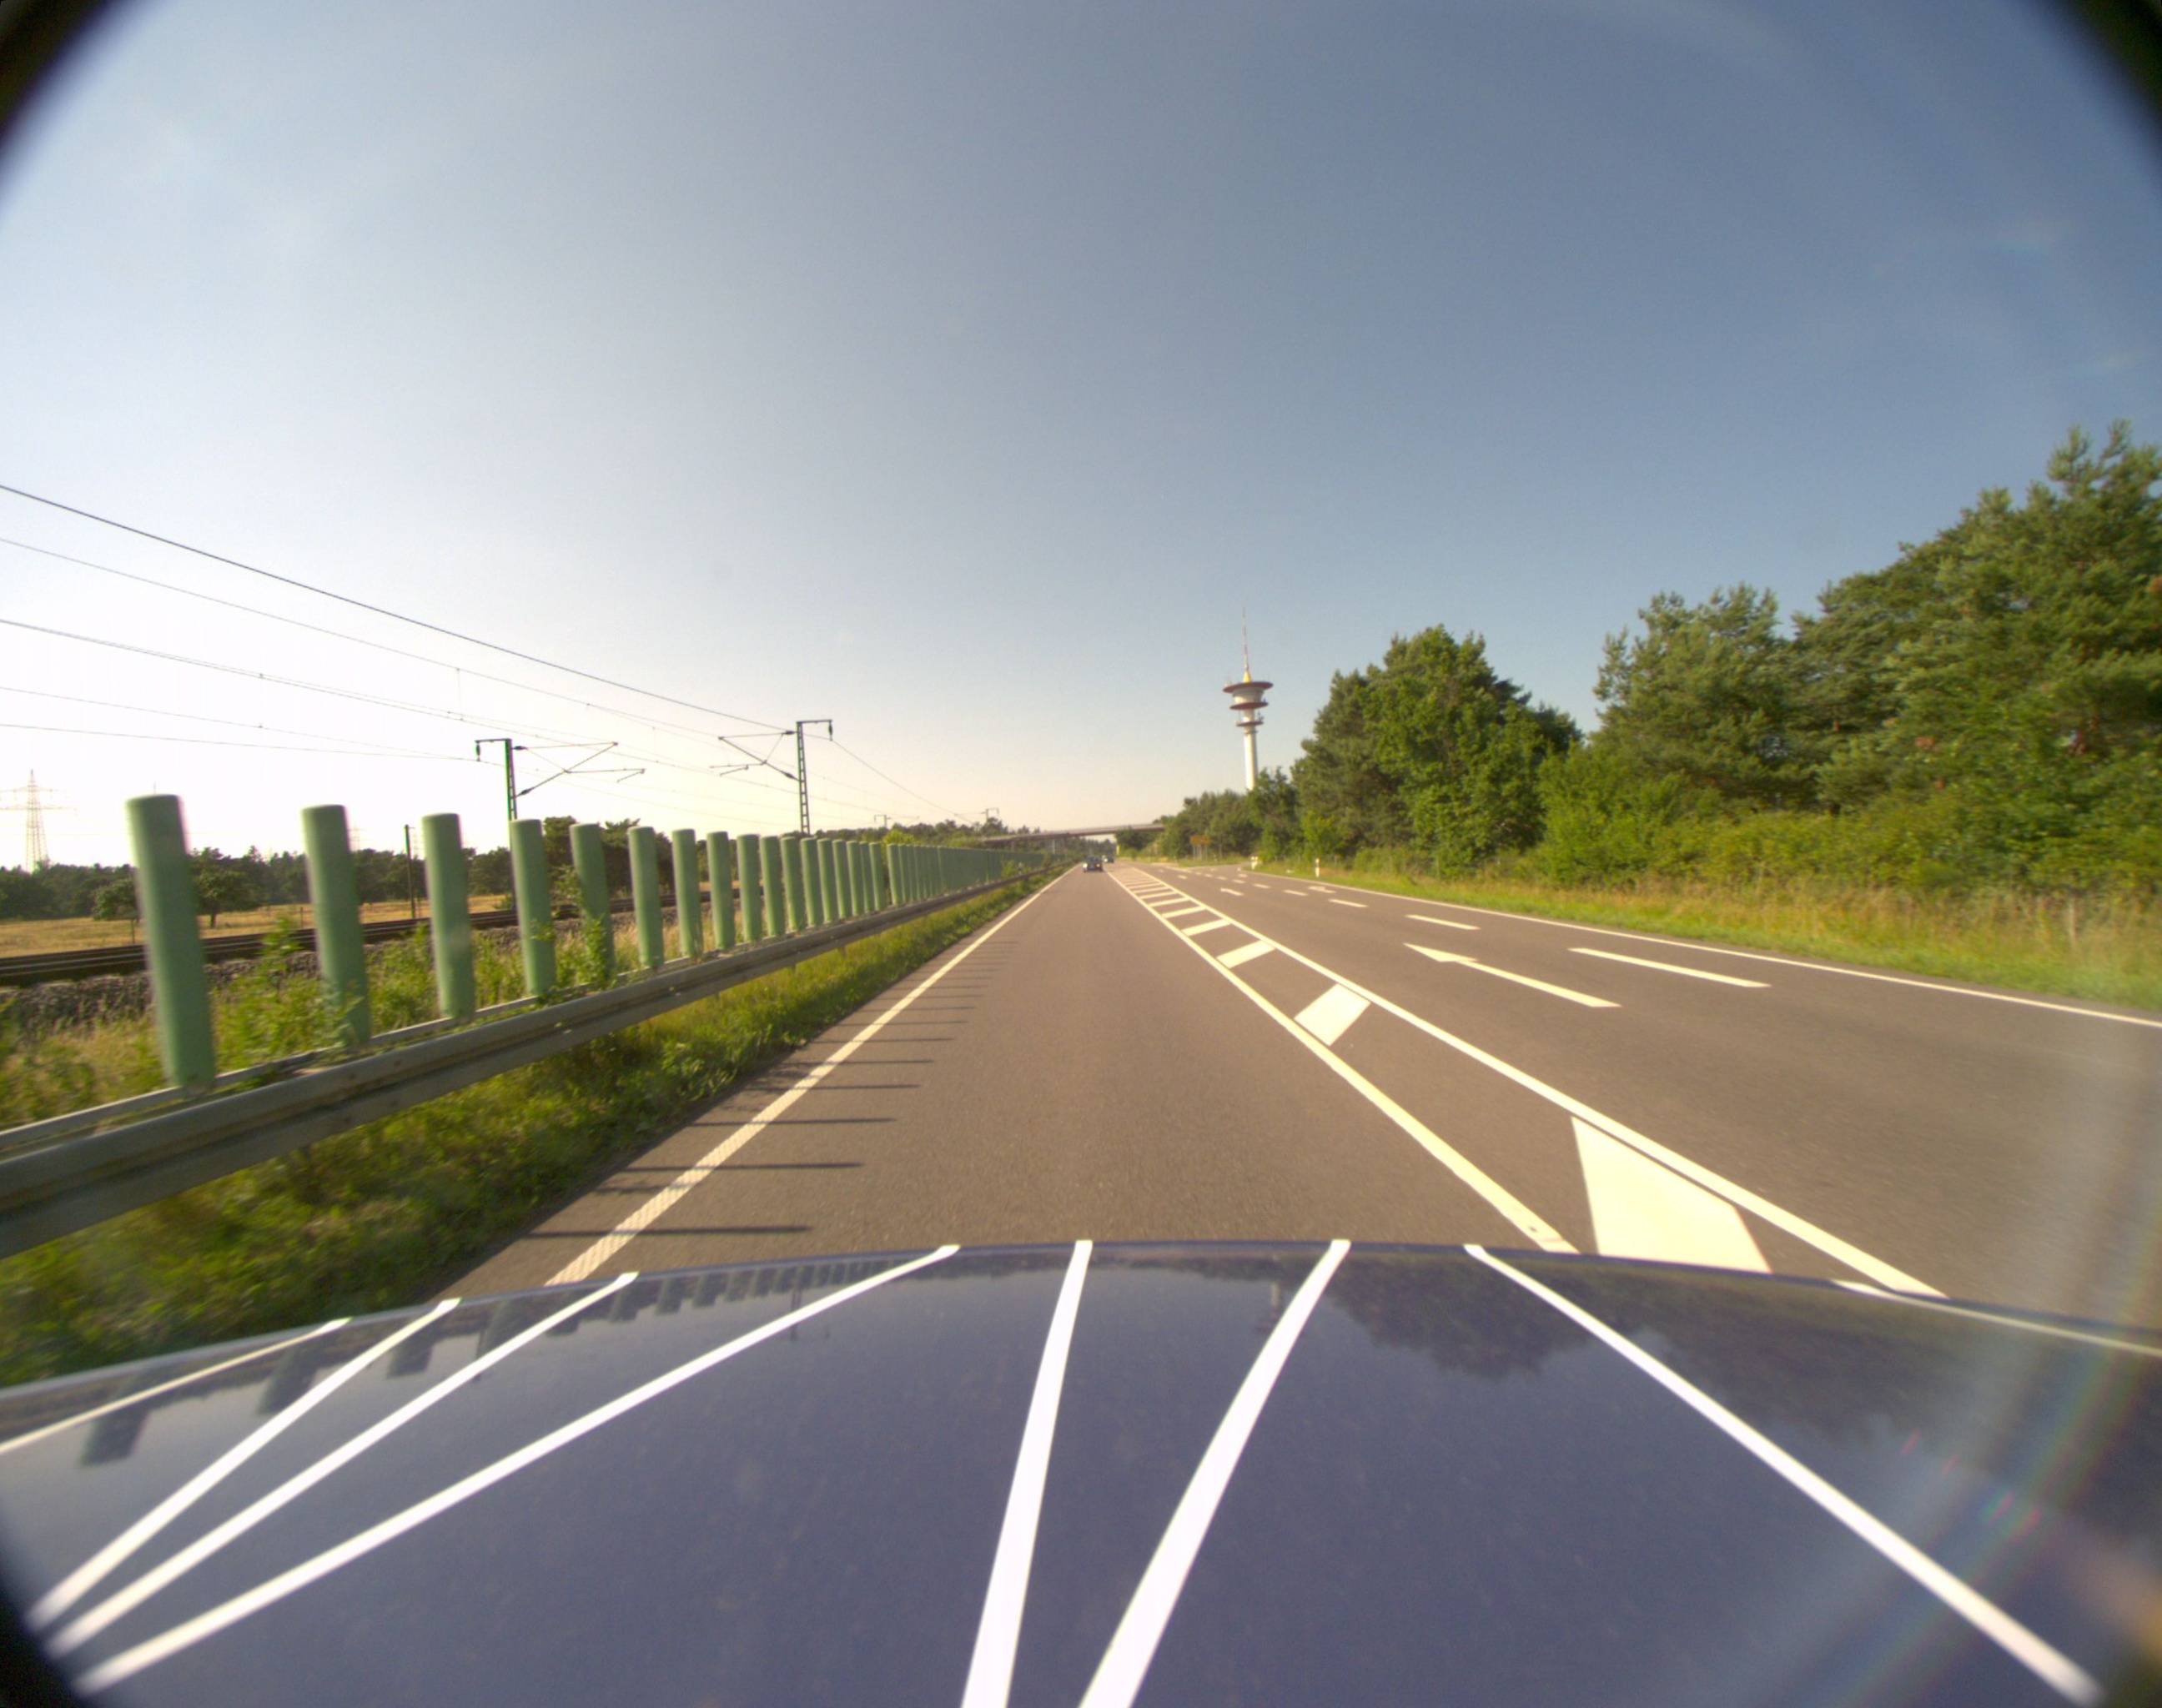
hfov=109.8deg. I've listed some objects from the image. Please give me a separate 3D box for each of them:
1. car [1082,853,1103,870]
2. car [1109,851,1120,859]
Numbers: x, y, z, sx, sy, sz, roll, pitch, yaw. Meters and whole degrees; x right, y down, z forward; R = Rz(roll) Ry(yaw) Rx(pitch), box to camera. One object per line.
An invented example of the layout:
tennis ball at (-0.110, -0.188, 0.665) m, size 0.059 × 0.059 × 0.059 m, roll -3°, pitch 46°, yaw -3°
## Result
car at (1.123, 0.675, 71.621) m, size 1.868 × 1.533 × 4.076 m, roll -1°, pitch 0°, yaw 2°
car at (6.440, 0.194, 144.865) m, size 1.998 × 1.533 × 4.332 m, roll -1°, pitch 0°, yaw 2°
